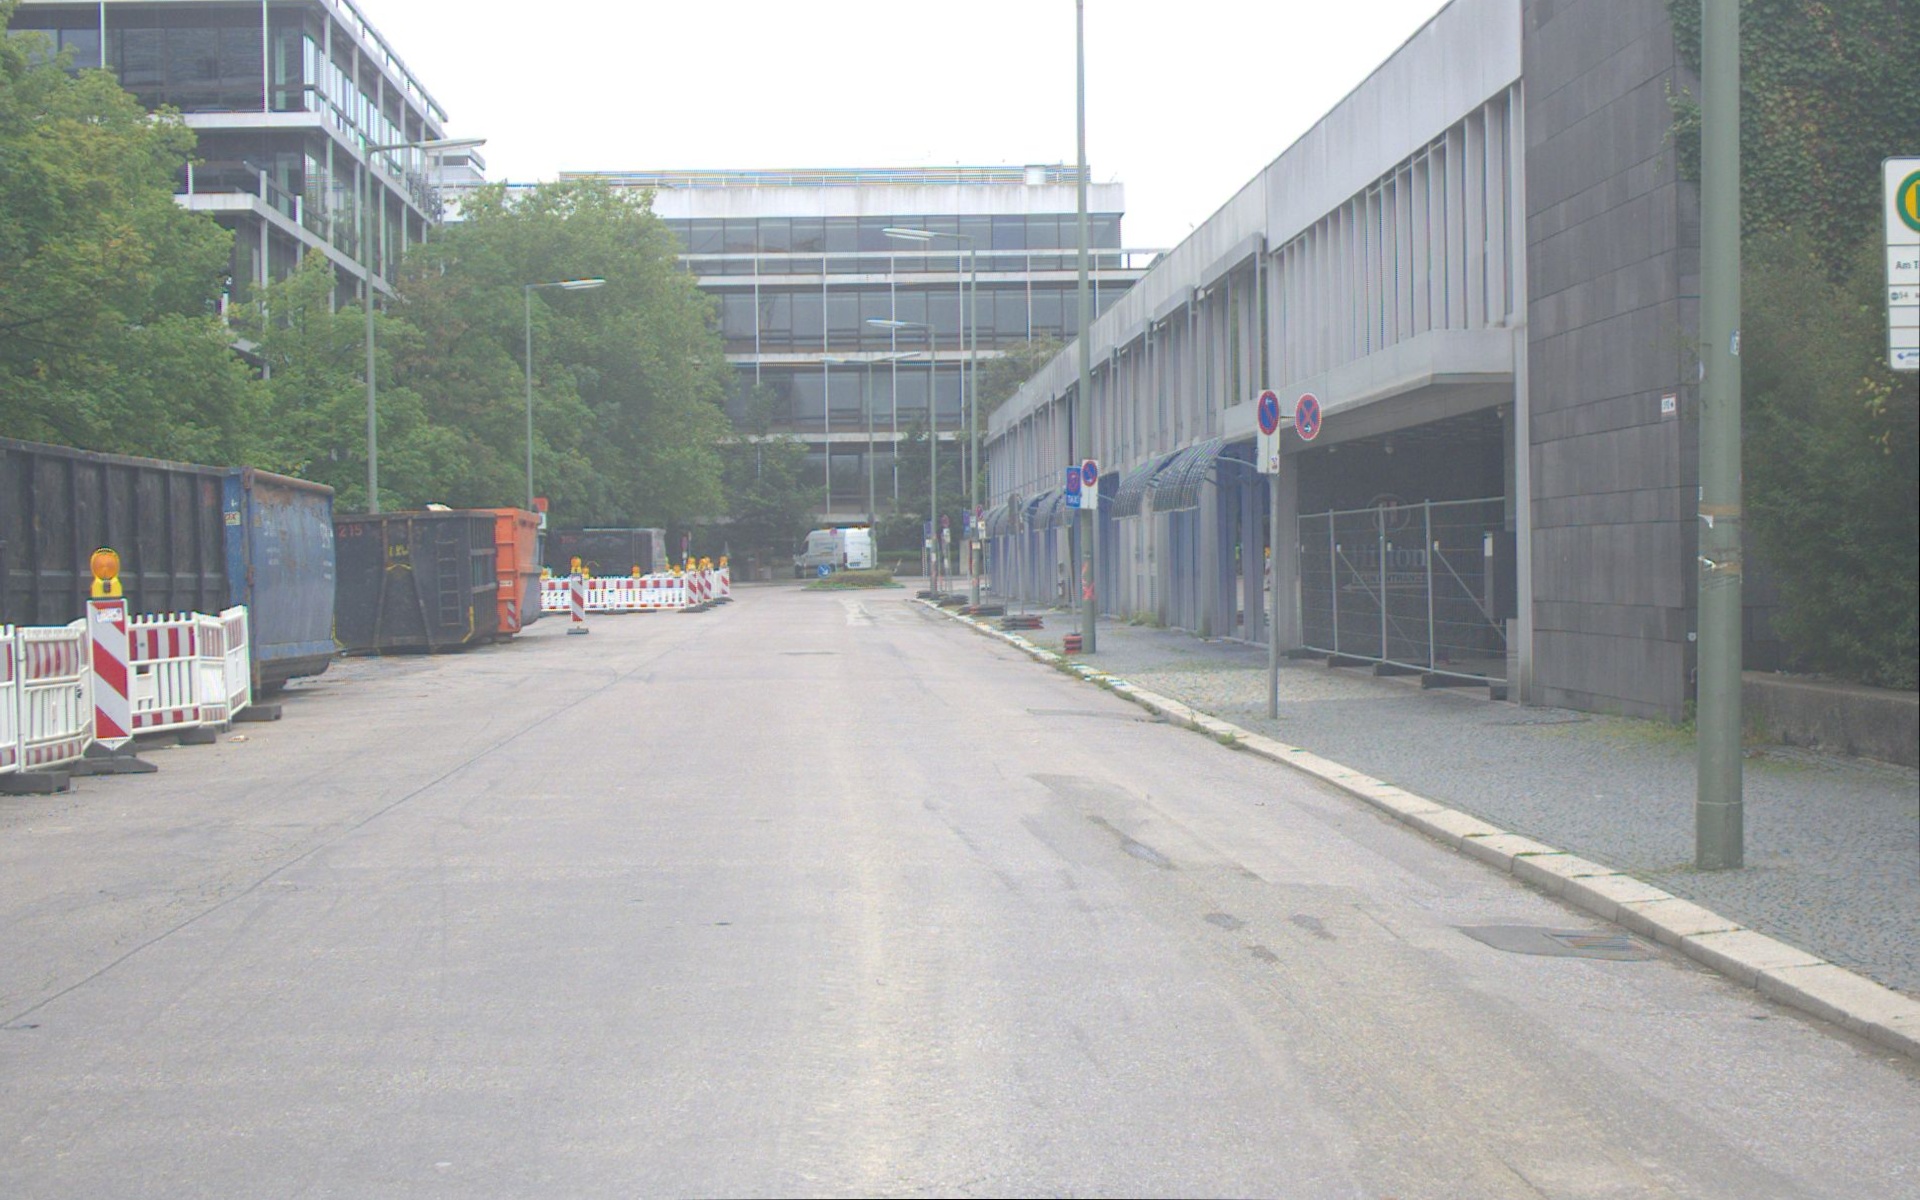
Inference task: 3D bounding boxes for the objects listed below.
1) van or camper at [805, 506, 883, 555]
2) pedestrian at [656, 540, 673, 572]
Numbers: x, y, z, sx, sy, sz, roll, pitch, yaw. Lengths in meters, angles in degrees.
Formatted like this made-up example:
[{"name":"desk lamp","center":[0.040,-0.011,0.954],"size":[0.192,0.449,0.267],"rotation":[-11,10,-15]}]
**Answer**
[{"name":"van or camper","center":[-6.119,-3.639,180.410],"size":[2.085,2.483,5.068],"rotation":[-1,1,-27]},{"name":"pedestrian","center":[-15.406,-2.282,179.176],"size":[0.741,1.671,0.682],"rotation":[-1,1,-21]}]
